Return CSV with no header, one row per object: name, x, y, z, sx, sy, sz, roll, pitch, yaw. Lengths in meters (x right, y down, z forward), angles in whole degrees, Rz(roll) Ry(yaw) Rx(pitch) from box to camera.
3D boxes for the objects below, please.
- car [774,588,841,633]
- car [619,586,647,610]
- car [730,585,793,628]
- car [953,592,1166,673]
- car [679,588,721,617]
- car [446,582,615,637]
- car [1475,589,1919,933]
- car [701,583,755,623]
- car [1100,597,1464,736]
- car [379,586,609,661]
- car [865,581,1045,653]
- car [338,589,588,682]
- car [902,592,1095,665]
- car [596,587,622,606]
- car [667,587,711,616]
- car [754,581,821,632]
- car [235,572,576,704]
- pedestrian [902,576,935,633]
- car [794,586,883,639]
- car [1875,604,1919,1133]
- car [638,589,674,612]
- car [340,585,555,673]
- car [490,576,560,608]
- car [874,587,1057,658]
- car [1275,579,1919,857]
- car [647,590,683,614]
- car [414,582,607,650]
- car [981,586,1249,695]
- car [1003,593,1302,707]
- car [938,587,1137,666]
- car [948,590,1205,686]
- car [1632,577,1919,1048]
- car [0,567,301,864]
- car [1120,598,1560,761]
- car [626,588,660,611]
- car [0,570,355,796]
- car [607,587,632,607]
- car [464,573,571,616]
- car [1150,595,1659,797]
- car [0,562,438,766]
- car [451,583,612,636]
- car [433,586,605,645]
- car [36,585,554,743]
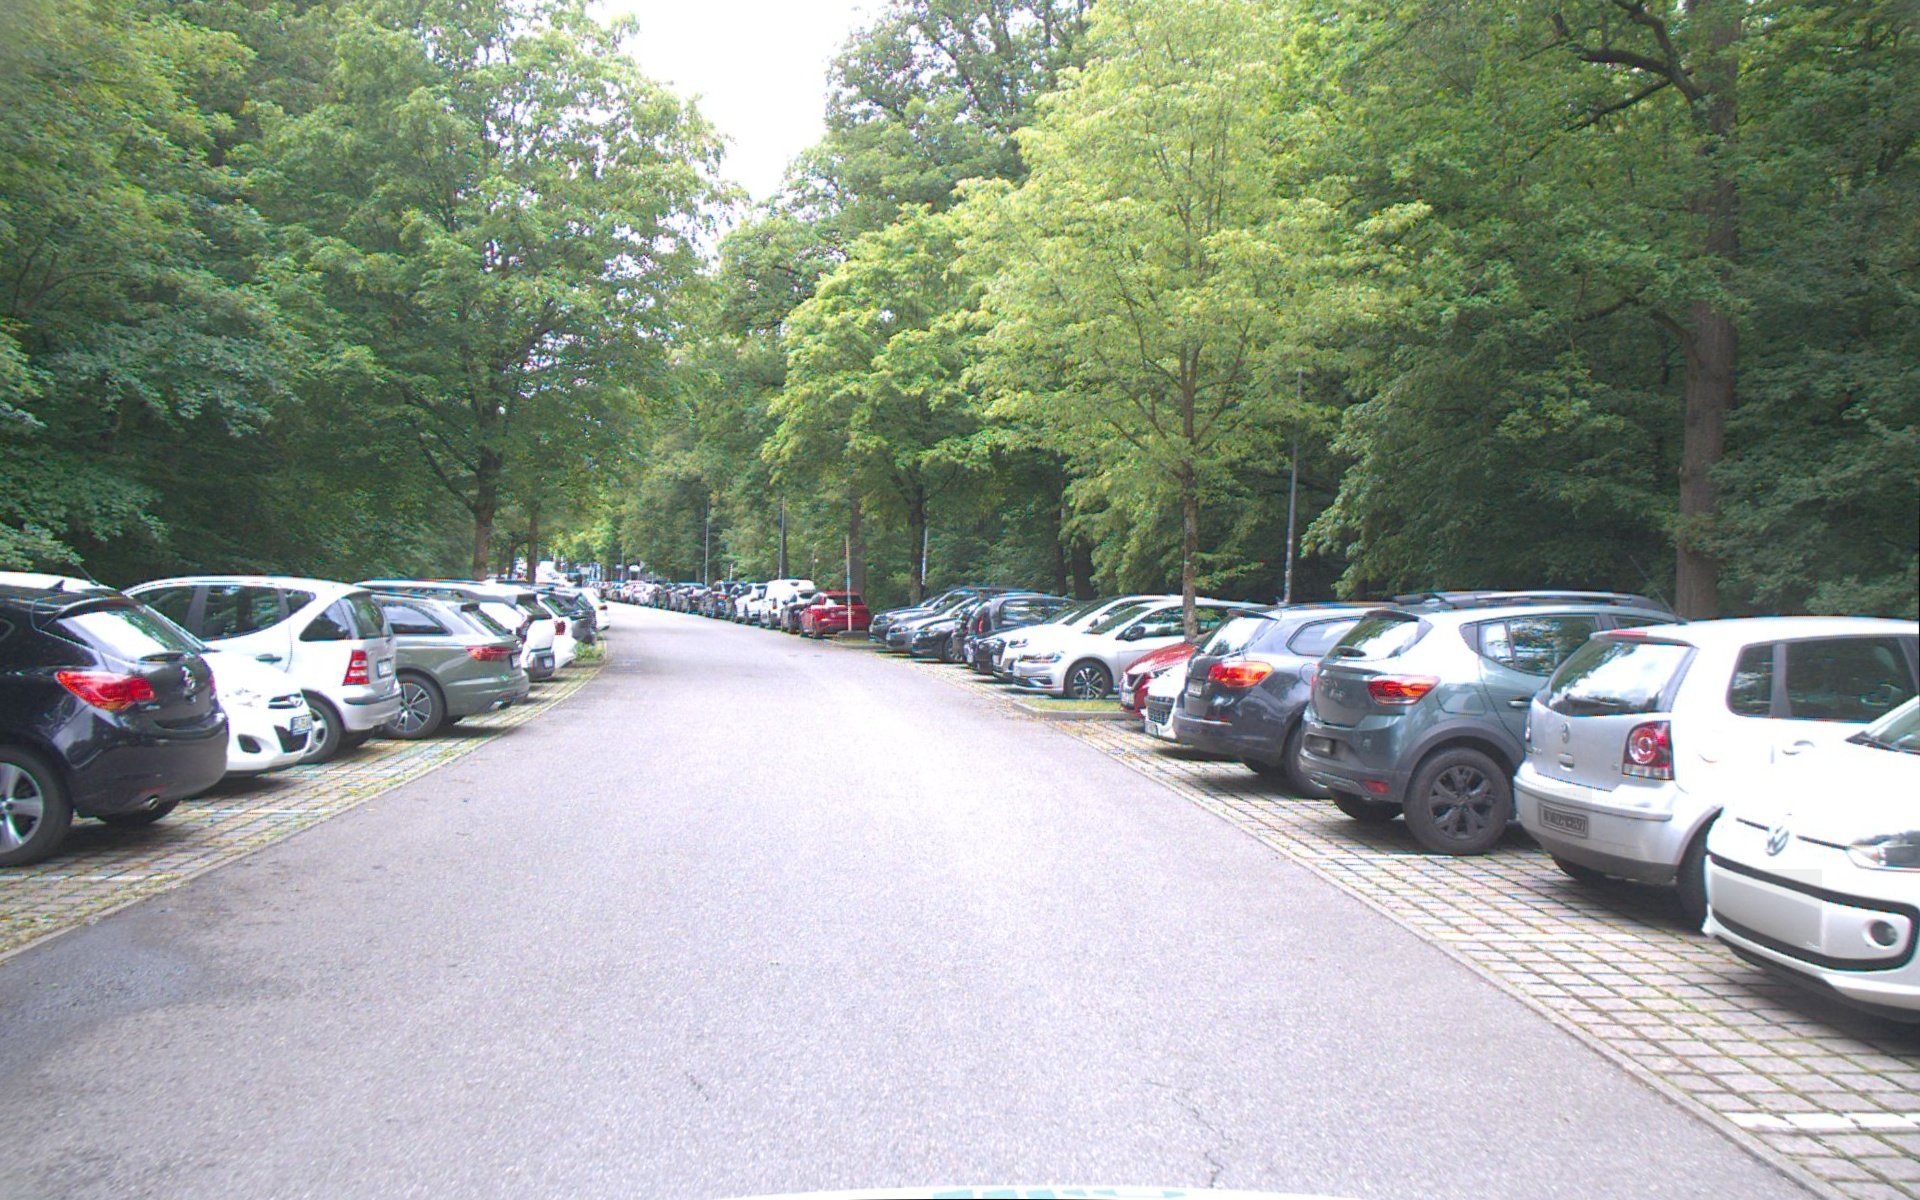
car,-5.257,0.335,56.642,1.696,1.447,4.269,1,0,-14
car,-24.193,-0.171,122.415,1.683,1.758,3.982,1,0,-16
car,-8.170,0.246,67.756,1.757,1.691,4.695,1,0,-17
car,1.870,0.607,31.616,3.757,1.483,1.804,0,0,-10
car,-14.023,0.133,89.081,1.611,1.503,4.130,1,0,-18
car,-12.090,0.267,46.518,4.491,1.473,2.075,1,0,-18
car,4.859,0.765,8.628,3.768,1.573,1.728,1,0,-6
car,-11.092,0.119,78.920,1.859,1.777,4.926,1,0,-16
car,3.712,0.747,19.284,3.732,1.466,1.863,1,1,-16
car,-9.475,0.477,33.991,4.325,1.449,2.031,1,0,-10
car,-0.160,0.418,41.434,4.191,1.695,1.952,1,0,-12
car,-8.021,0.552,26.987,3.657,1.444,1.868,0,0,-9
car,0.814,0.616,36.454,3.915,1.501,1.947,1,0,-11
car,-29.942,-0.290,141.113,1.889,1.547,3.871,1,0,-15
car,-15.546,0.071,94.706,1.947,1.564,4.600,1,0,-17
car,-6.498,0.215,61.801,1.716,1.811,4.532,1,0,-16
car,-7.322,0.481,22.157,3.879,1.656,1.998,0,0,0
pedestrian,-1.303,0.151,51.835,0.803,1.756,1.000,1,0,-14
car,-3.810,0.356,51.217,1.960,1.505,4.954,1,0,-14
car,4.745,0.780,4.015,4.043,1.487,1.864,1,0,-2
car,-20.545,0.025,111.616,1.907,1.501,3.972,1,0,-18
car,-8.972,0.489,29.198,3.401,1.507,1.680,0,0,-10
car,-26.100,-0.494,99.169,3.927,1.848,2.103,1,0,-20
car,0.109,0.529,38.999,3.924,1.579,1.966,1,0,-17
car,4.173,0.718,10.984,3.694,1.617,1.948,1,1,-5
car,-18.742,0.132,104.872,1.641,1.470,3.793,1,0,-19
car,-10.487,0.371,38.893,4.188,1.512,2.053,1,0,-11
car,2.417,0.619,26.458,3.932,1.586,1.975,1,1,-7
car,2.740,0.705,23.944,3.905,1.509,1.879,1,1,-12
car,1.555,0.522,33.830,3.758,1.558,1.846,0,0,-11
car,2.000,0.646,28.952,4.113,1.538,1.888,1,1,-12
car,4.774,0.729,6.401,3.628,1.537,1.750,1,0,-4
car,-6.313,0.583,9.616,4.149,1.557,2.005,1,0,-3
car,3.690,0.758,16.464,3.857,1.435,1.875,1,1,-7
car,-22.443,-0.028,117.179,1.697,1.520,3.750,1,0,-21
car,-6.864,0.566,12.263,4.153,1.560,1.760,0,0,-7
car,-27.674,-0.248,134.291,1.683,1.535,3.982,1,0,-16
car,-18.069,-0.222,67.690,4.154,1.661,2.021,1,0,-15
car,3.621,0.769,13.815,3.698,1.507,1.770,1,1,-9
car,-6.984,0.525,14.762,4.154,1.676,1.966,0,0,-9
car,-12.587,0.281,48.804,4.485,1.512,1.863,1,0,-14
car,-11.662,0.411,43.845,4.295,1.512,1.883,1,0,-17
car,-6.670,0.614,17.111,4.551,1.504,2.092,0,0,-7
